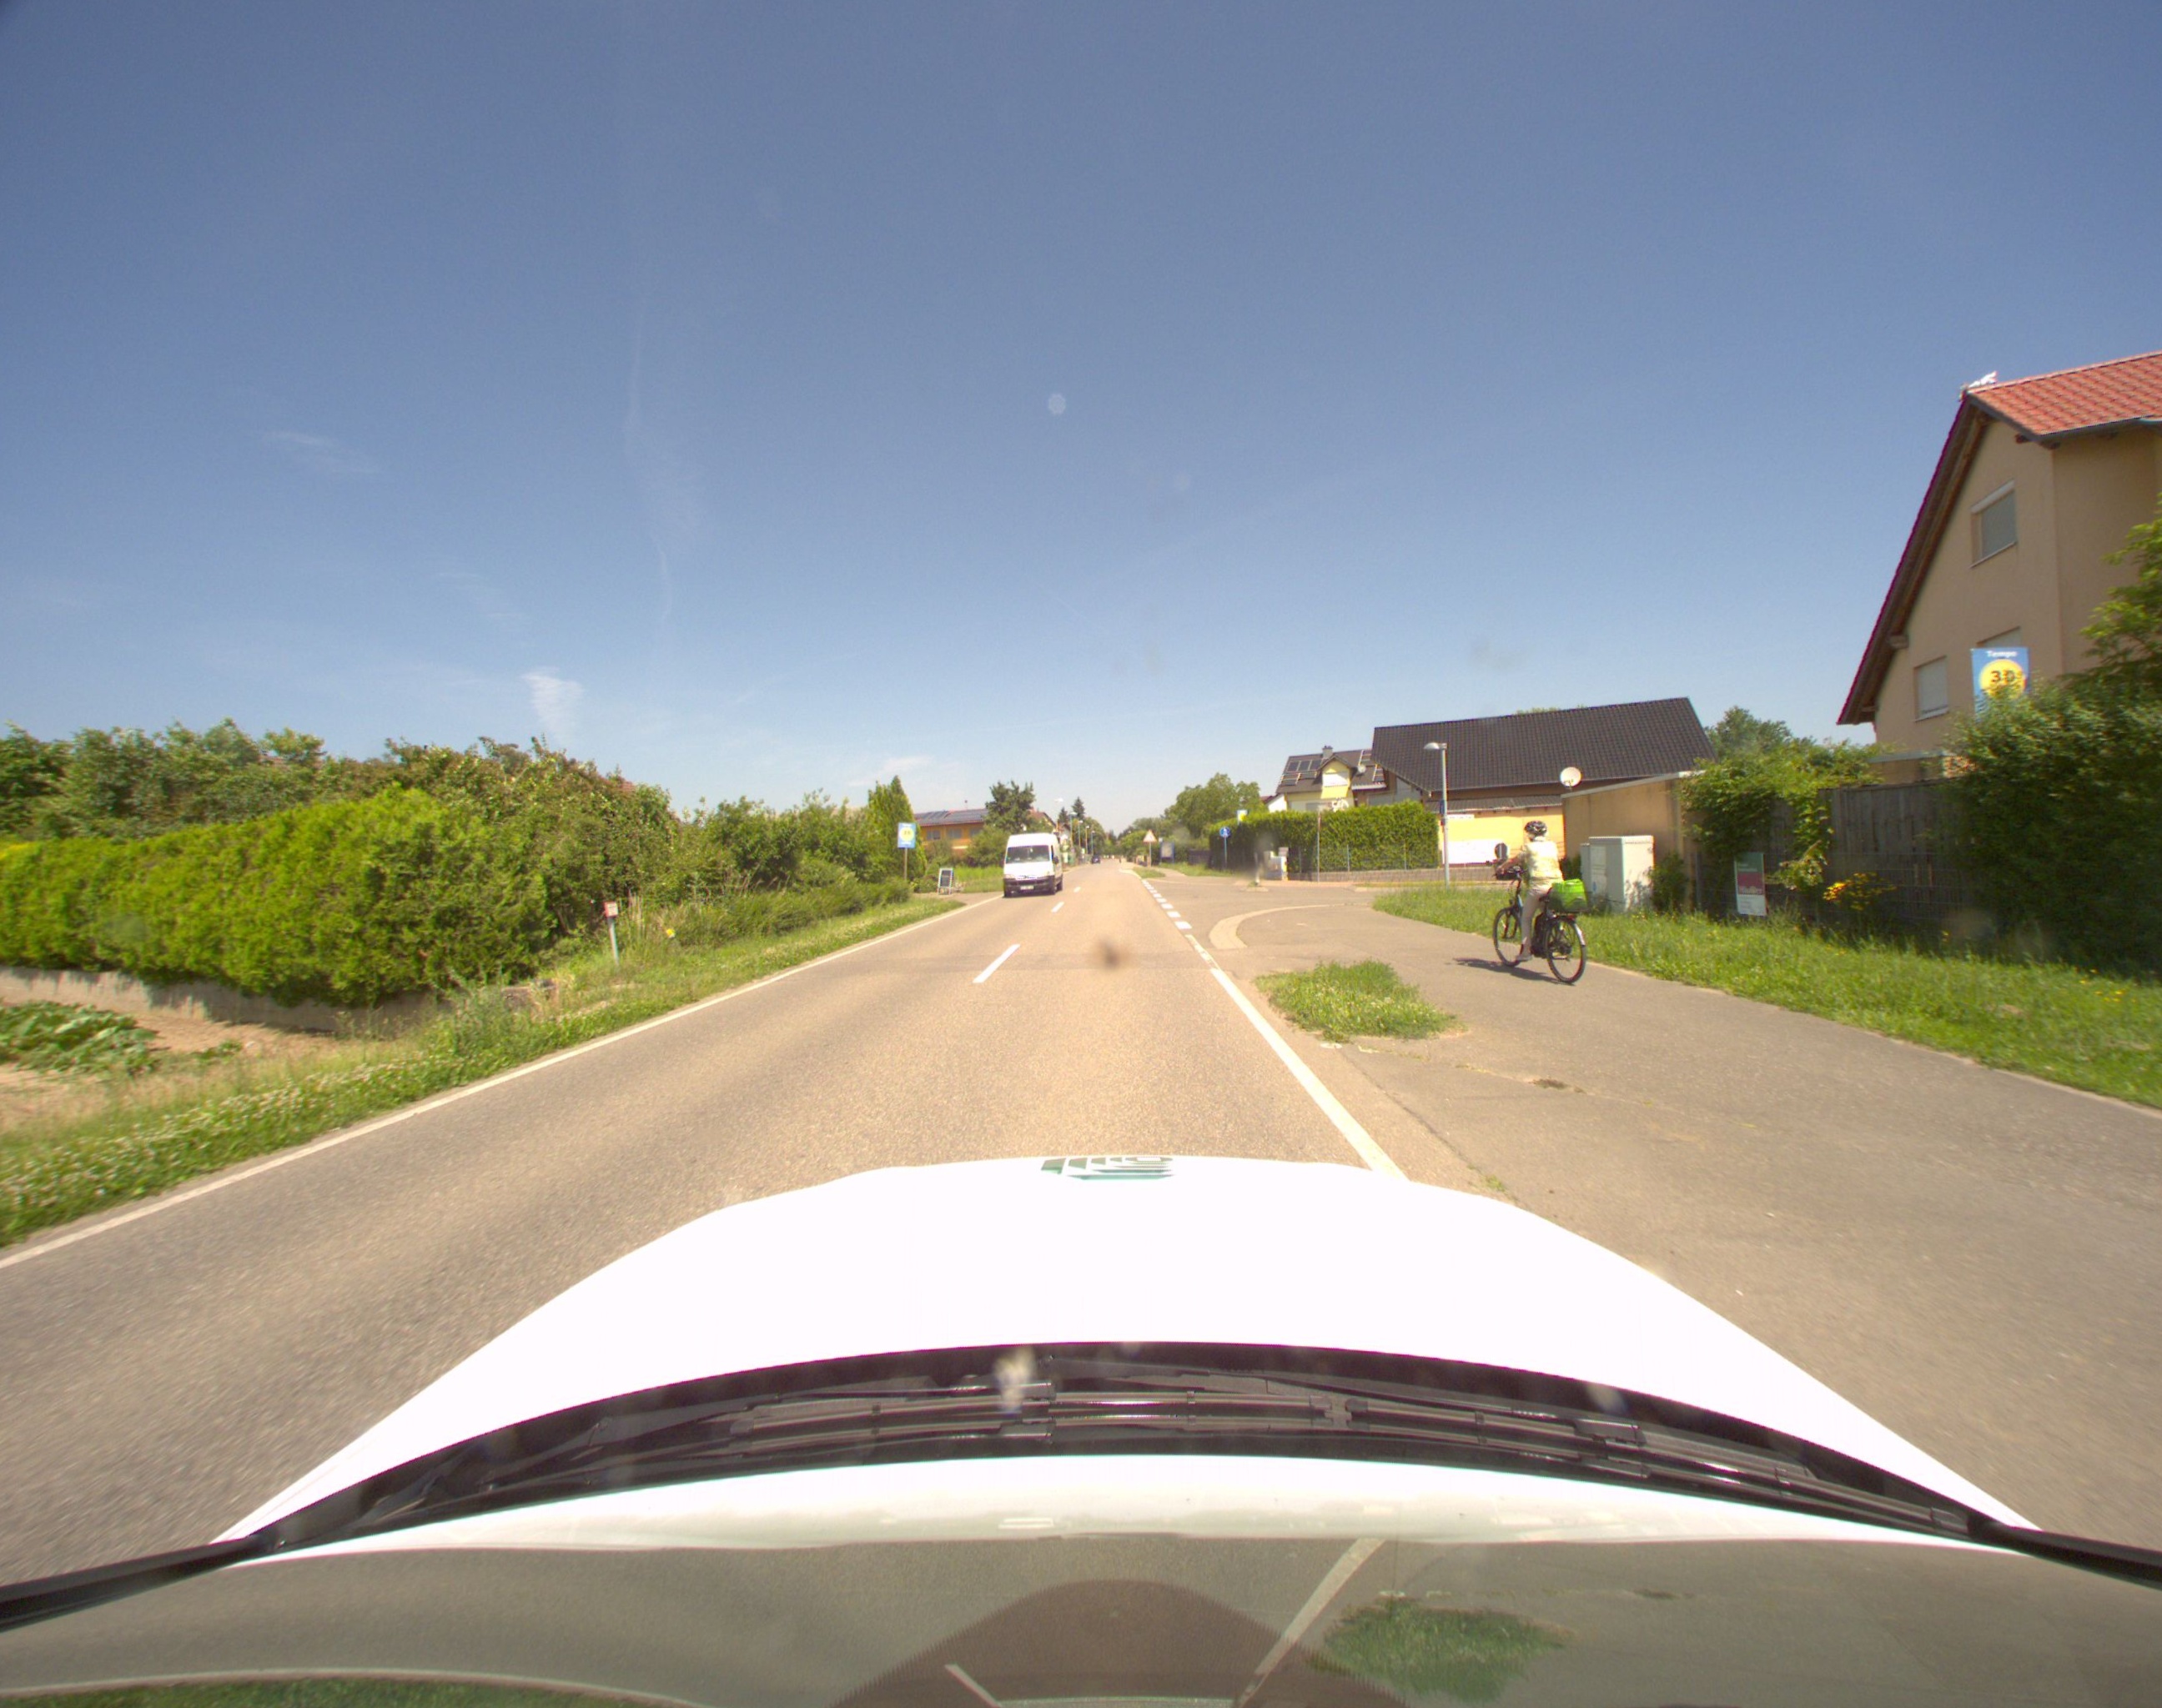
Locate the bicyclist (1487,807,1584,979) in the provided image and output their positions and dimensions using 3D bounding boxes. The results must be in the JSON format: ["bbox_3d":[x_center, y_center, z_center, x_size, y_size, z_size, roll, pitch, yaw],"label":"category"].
[{"bbox_3d":[5.203,0.421,9.369,0.642,1.889,0.861,-1,1,2],"label":"bicyclist"}]

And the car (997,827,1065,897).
[{"bbox_3d":[-1.954,0.279,33.644,2.069,2.542,5.876,-3,0,2],"label":"car"}]

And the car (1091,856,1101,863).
[{"bbox_3d":[3.074,1.145,167.013,1.752,1.385,3.454,-3,0,2],"label":"car"}]

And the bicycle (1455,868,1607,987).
[{"bbox_3d":[5.210,0.789,9.618,0.608,1.158,2.275,-1,1,2],"label":"bicycle"}]
